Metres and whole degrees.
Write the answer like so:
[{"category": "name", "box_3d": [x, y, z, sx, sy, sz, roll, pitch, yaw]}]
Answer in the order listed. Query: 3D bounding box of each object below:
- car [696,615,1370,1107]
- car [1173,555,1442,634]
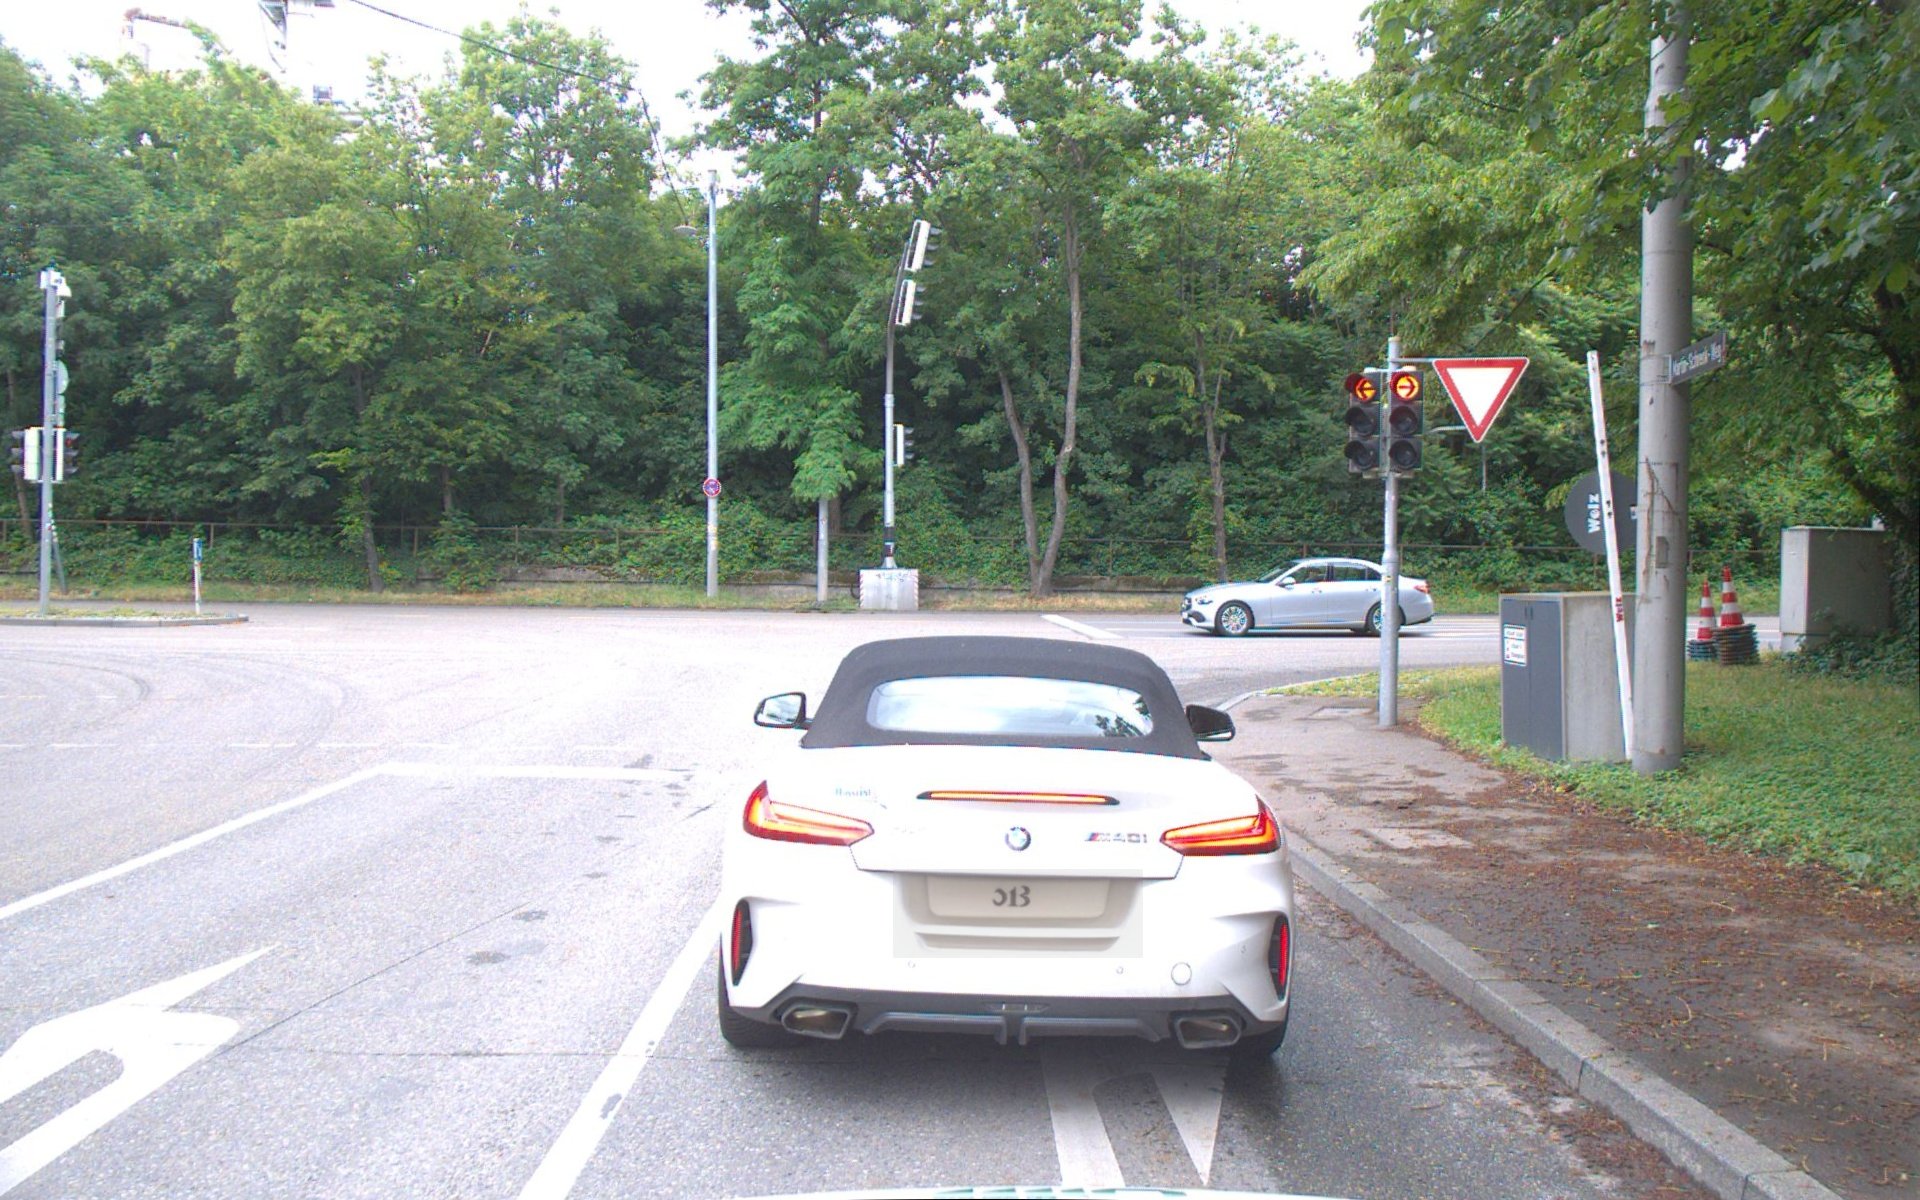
[{"category": "car", "box_3d": [0.111, 0.749, 6.453, 1.791, 1.279, 3.997, 2, -1, -3]}, {"category": "car", "box_3d": [6.472, -0.123, 31.138, 4.656, 1.356, 1.833, 1, 3, -2]}]
